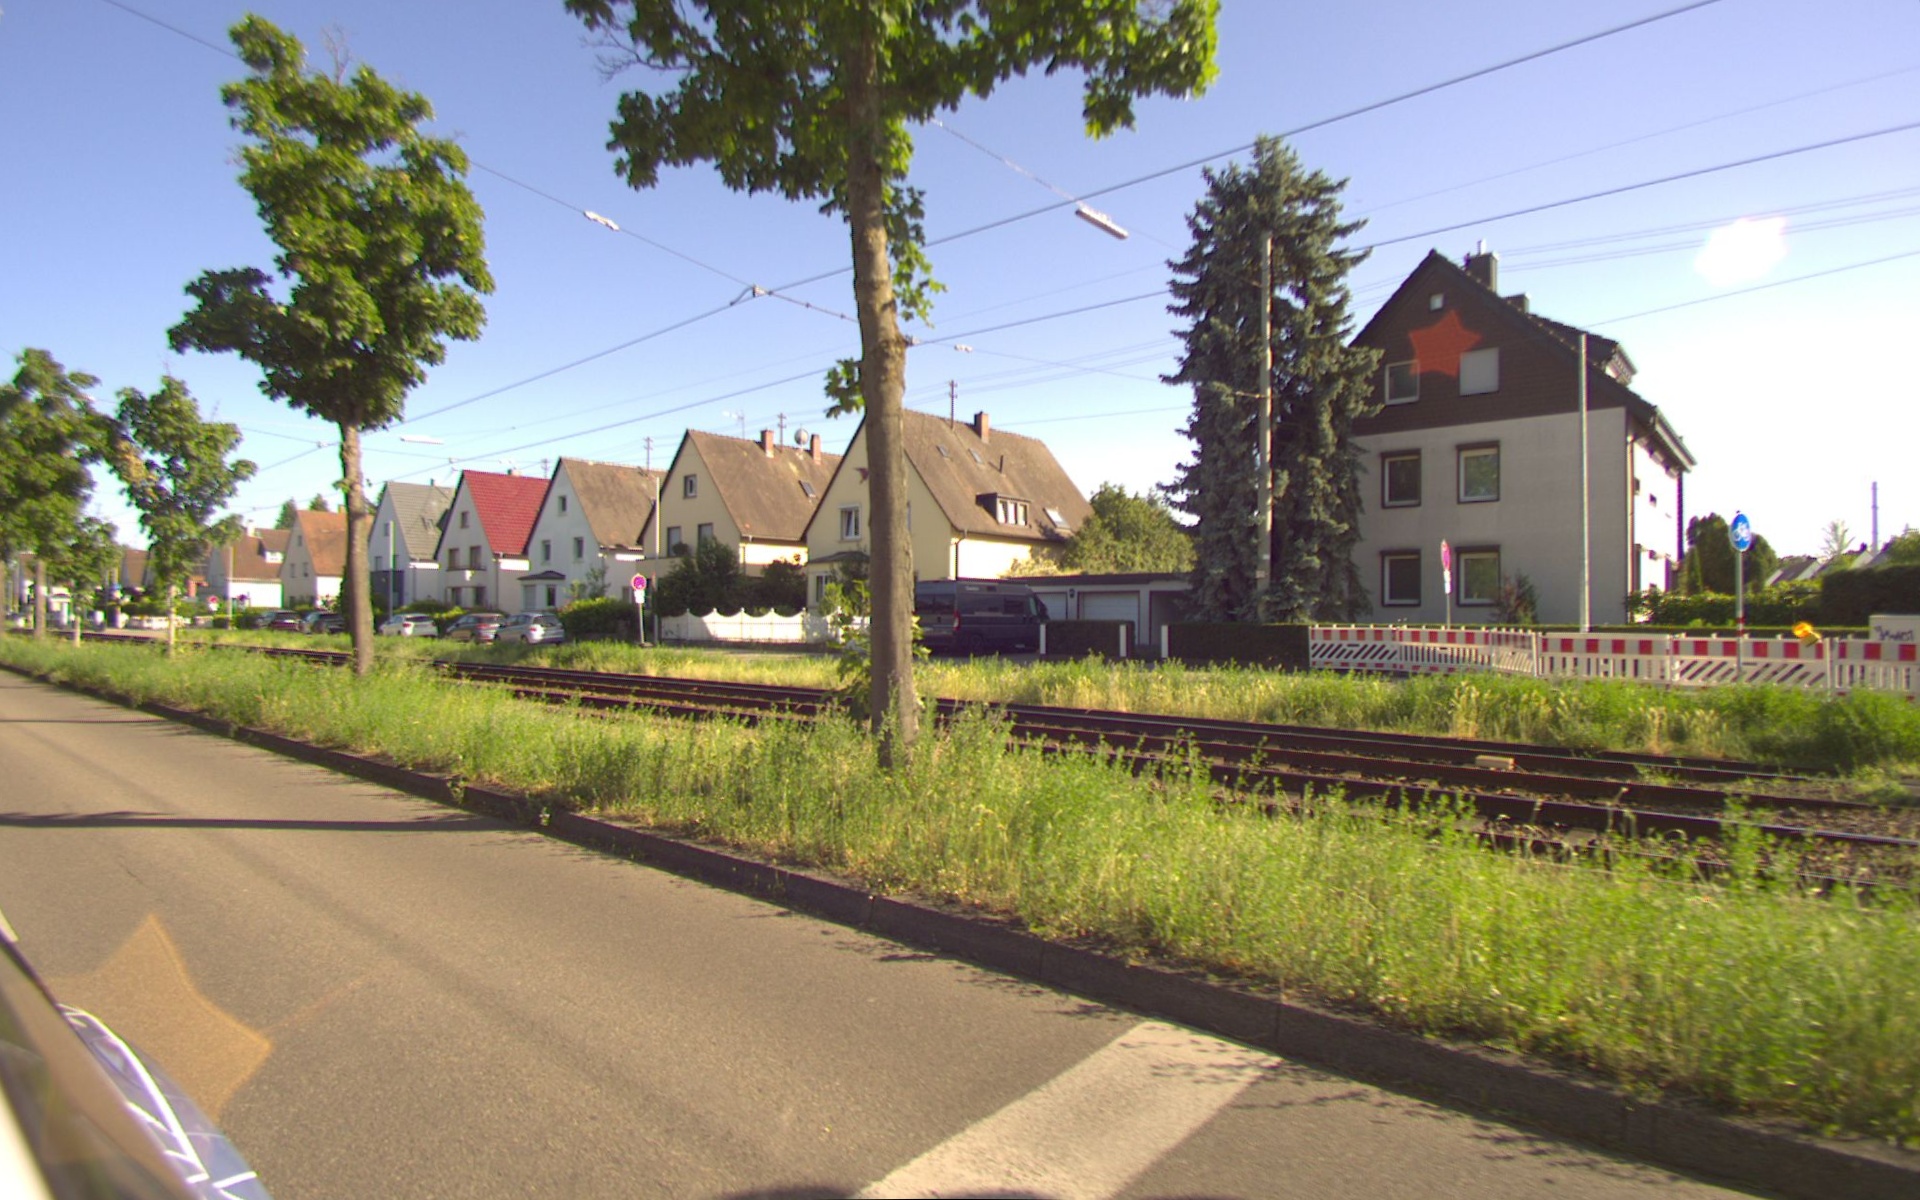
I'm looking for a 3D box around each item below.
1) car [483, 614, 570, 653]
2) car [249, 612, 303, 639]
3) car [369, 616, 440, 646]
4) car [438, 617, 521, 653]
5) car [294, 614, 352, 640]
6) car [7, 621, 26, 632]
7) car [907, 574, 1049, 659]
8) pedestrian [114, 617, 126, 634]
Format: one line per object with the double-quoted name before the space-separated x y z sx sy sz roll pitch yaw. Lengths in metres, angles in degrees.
"car" -18.742 1.396 43.700 4.055 1.565 1.926 -1 0 41
"car" -45.903 1.681 67.904 4.389 1.726 1.973 -1 0 41
"car" -29.086 1.578 52.960 4.410 1.437 1.972 -1 0 43
"car" -22.311 1.570 46.976 4.126 1.460 1.973 -1 2 41
"car" -39.227 1.629 62.283 4.254 1.506 1.906 -1 0 41
"car" -142.503 3.962 152.866 3.754 1.501 1.716 -1 0 41
"car" 0.682 0.557 34.147 2.101 2.645 4.976 -2 -2 41
"pedestrian" -81.687 2.476 98.418 0.794 1.546 0.802 -4 -3 44
